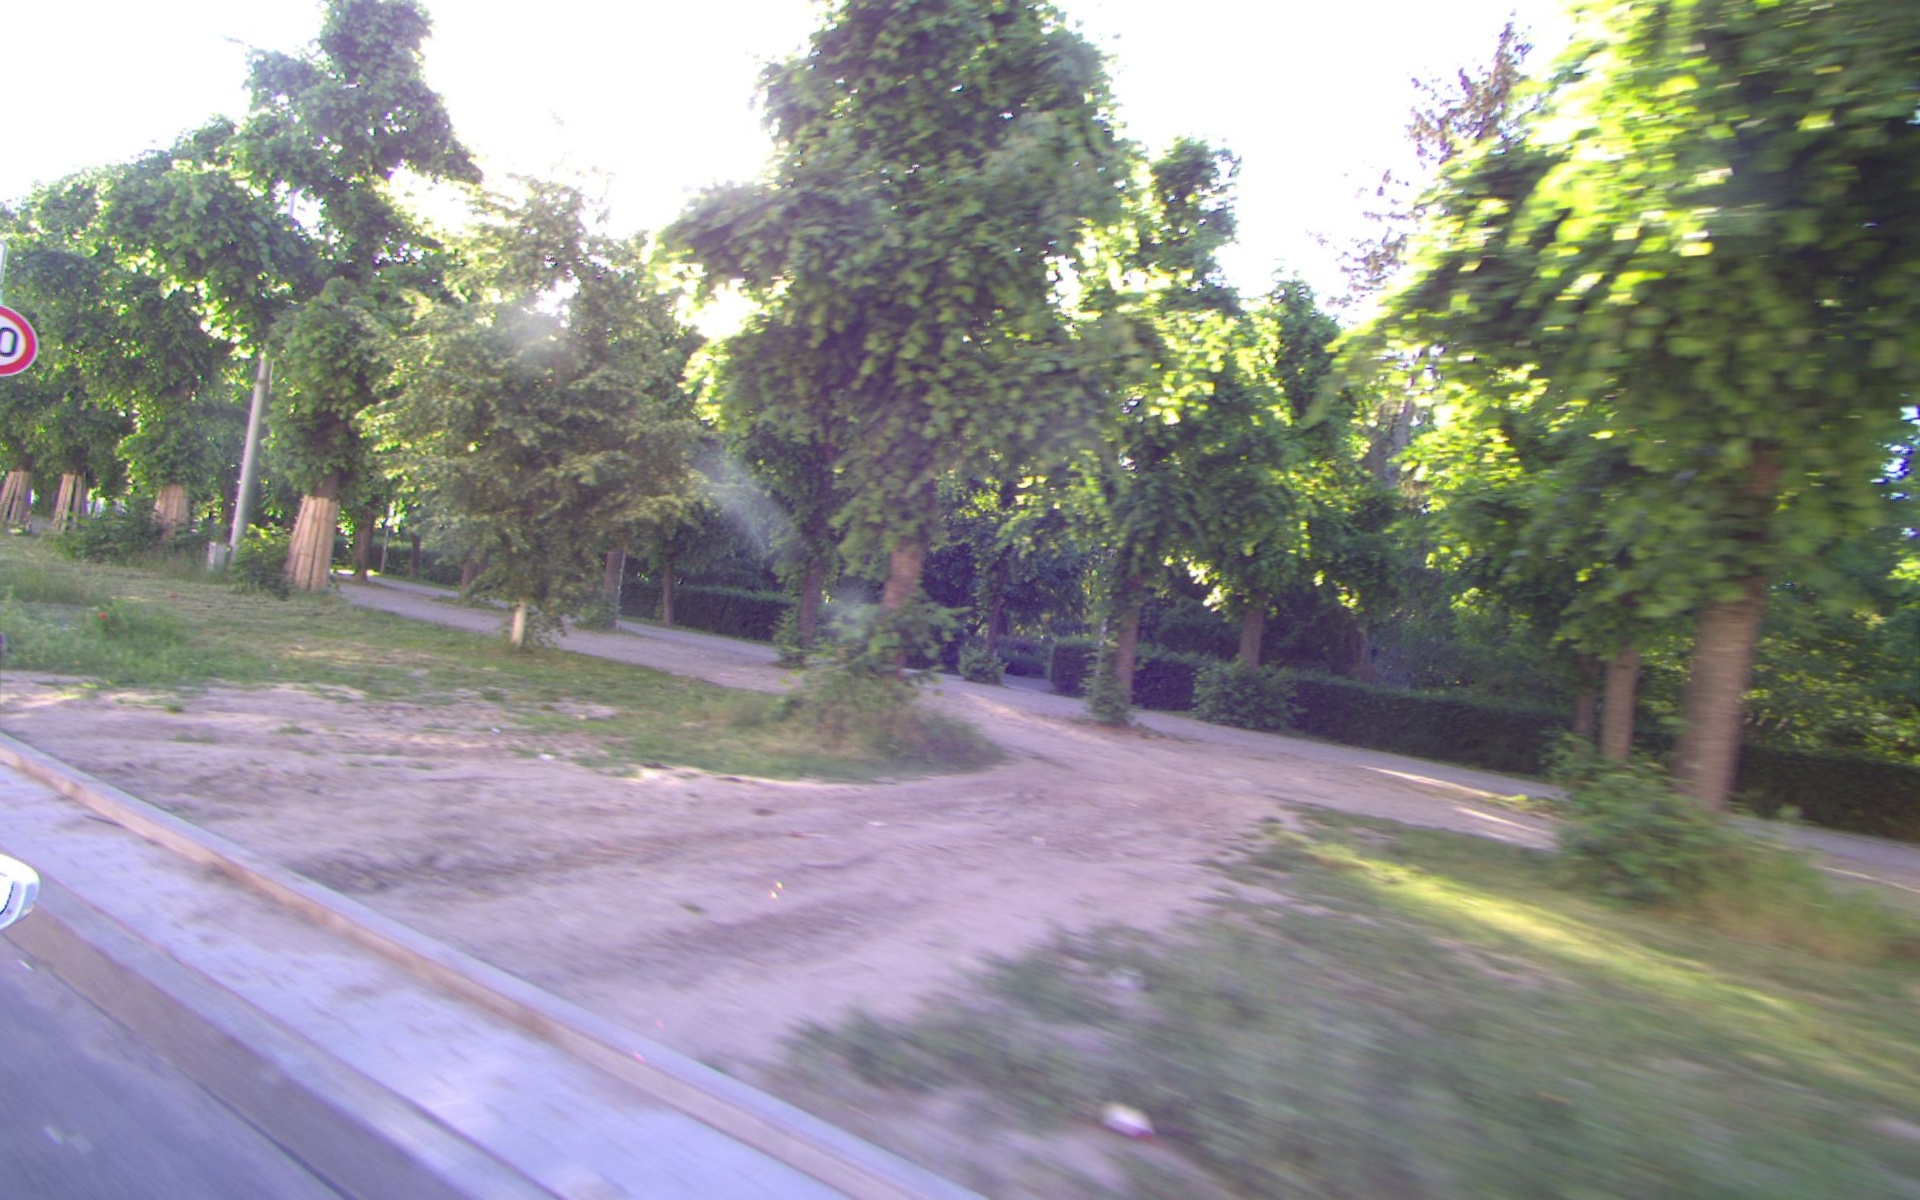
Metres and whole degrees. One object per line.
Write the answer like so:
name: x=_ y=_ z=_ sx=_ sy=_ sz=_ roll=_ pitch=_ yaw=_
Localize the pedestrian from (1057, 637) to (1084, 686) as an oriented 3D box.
pedestrian: x=4.311 y=2.381 z=39.142 sx=0.547 sy=1.803 sz=0.661 roll=8 pitch=0 yaw=34
